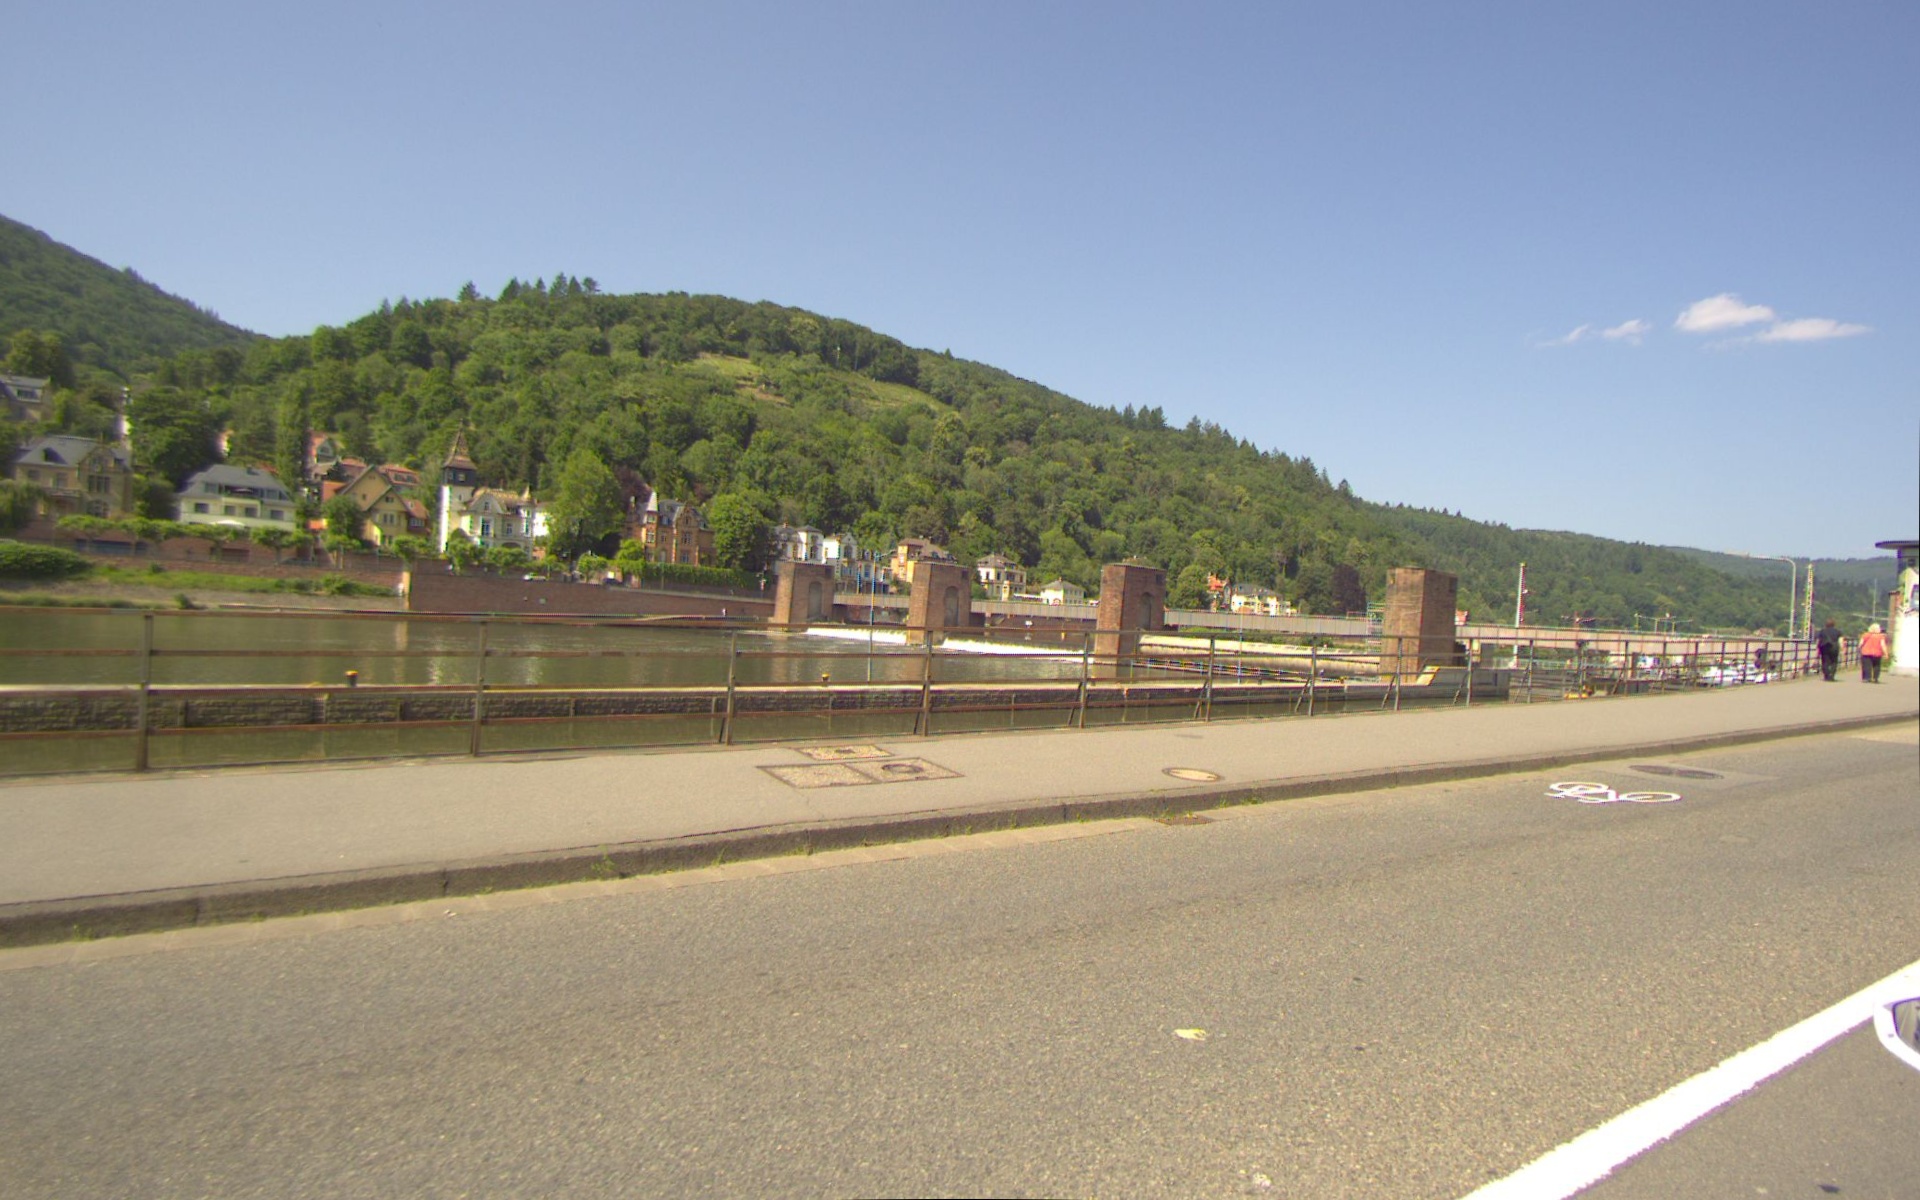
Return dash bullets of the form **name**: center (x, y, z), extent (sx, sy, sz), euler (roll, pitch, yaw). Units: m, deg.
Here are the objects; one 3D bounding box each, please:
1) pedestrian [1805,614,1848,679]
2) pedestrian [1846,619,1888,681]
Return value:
- **pedestrian**: center (23.435, 1.255, 27.161), extent (0.765, 1.731, 0.678), euler (2, 0, -34)
- **pedestrian**: center (24.758, 1.357, 27.419), extent (0.810, 1.642, 0.697), euler (2, 0, -40)
